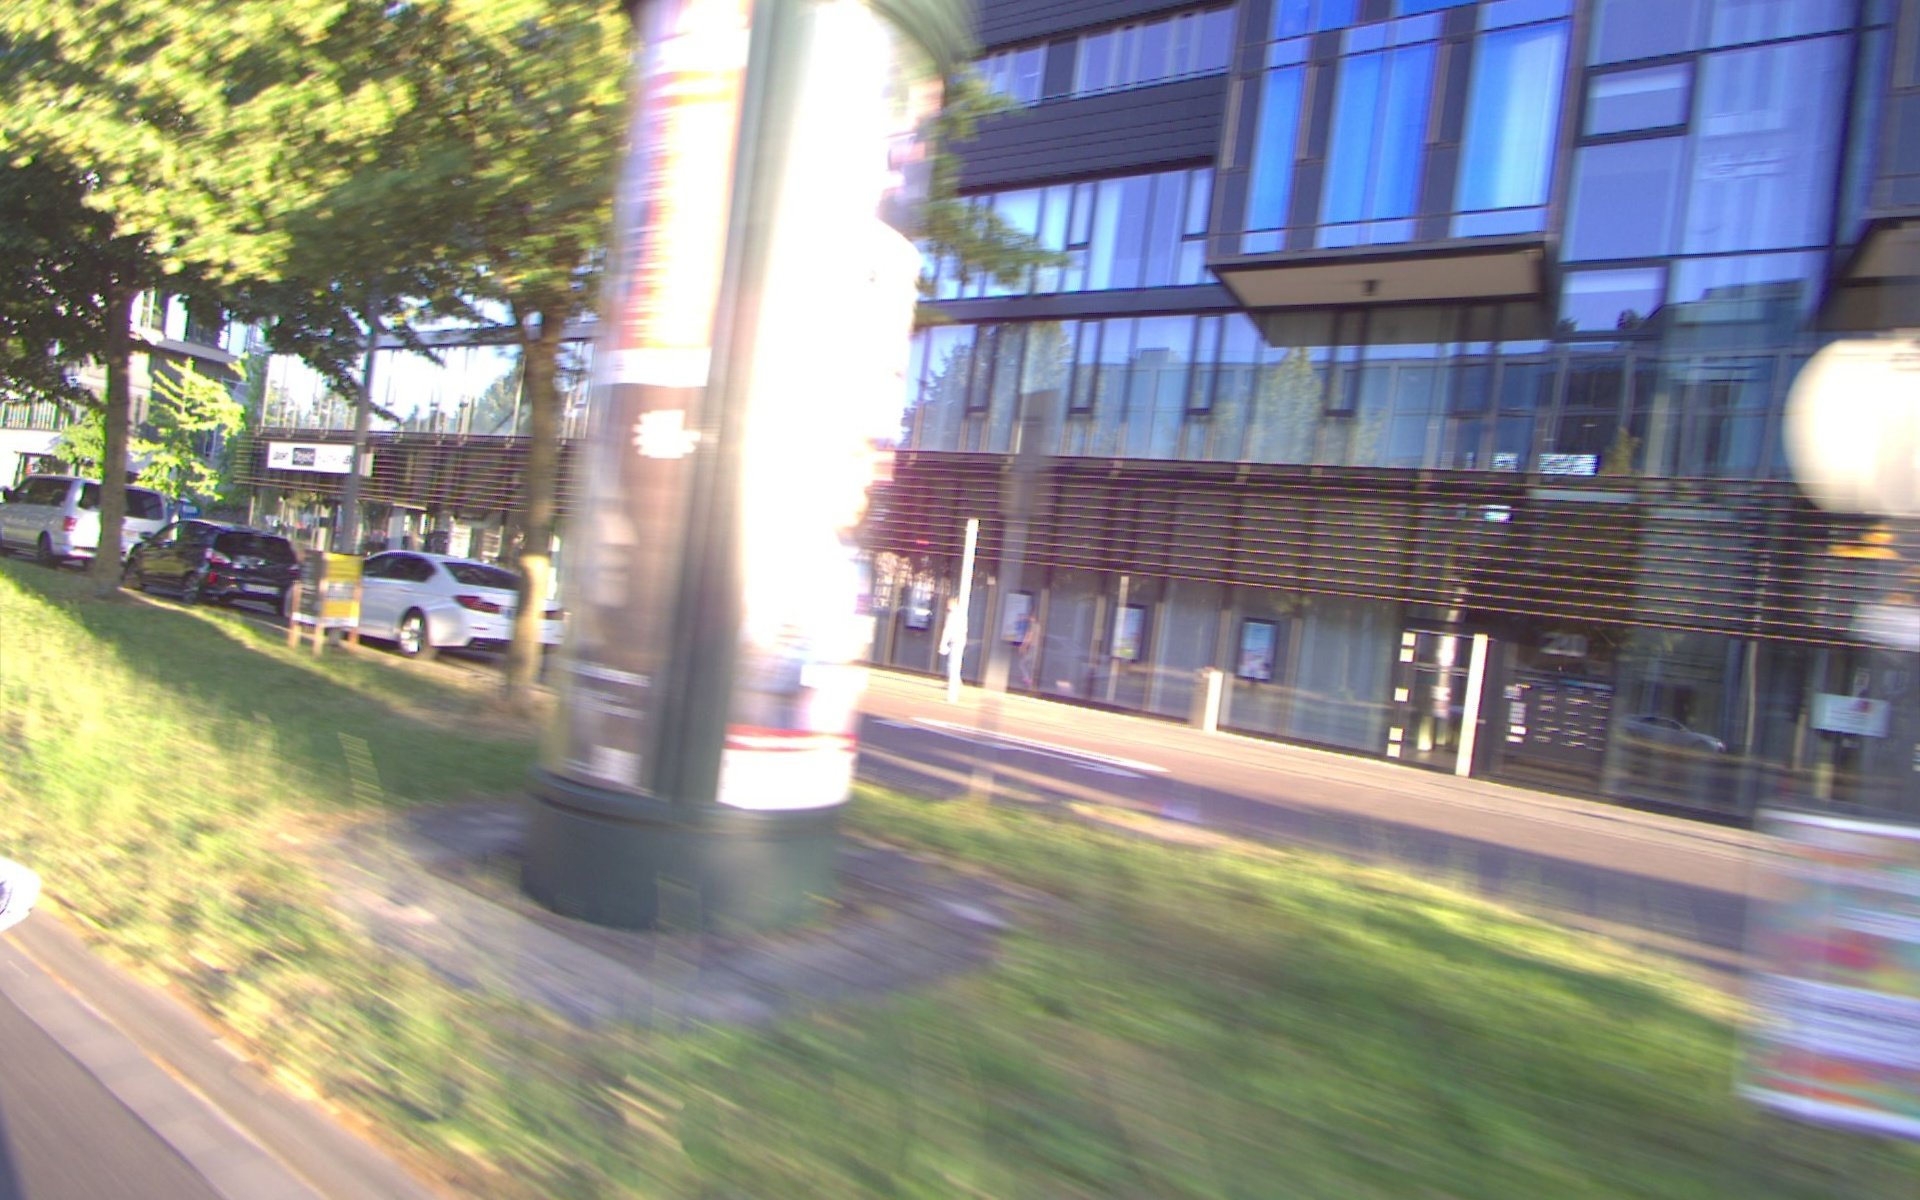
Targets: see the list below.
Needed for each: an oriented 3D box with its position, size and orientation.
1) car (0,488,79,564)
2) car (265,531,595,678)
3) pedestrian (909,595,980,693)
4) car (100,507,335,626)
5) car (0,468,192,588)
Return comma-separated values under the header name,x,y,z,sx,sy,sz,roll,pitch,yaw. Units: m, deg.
name,x,y,z,sx,sy,sz,roll,pitch,yaw
car,-23.770,-1.956,24.788,3.993,1.589,1.843,7,-2,31
car,-8.024,0.037,15.100,4.956,1.514,1.922,7,-2,30
pedestrian,-0.304,0.894,20.197,0.897,1.818,0.898,7,0,30
car,-13.418,-0.627,18.117,4.220,1.513,1.864,7,-3,32
car,-18.975,-1.594,21.741,4.850,2.012,1.990,7,-2,31
